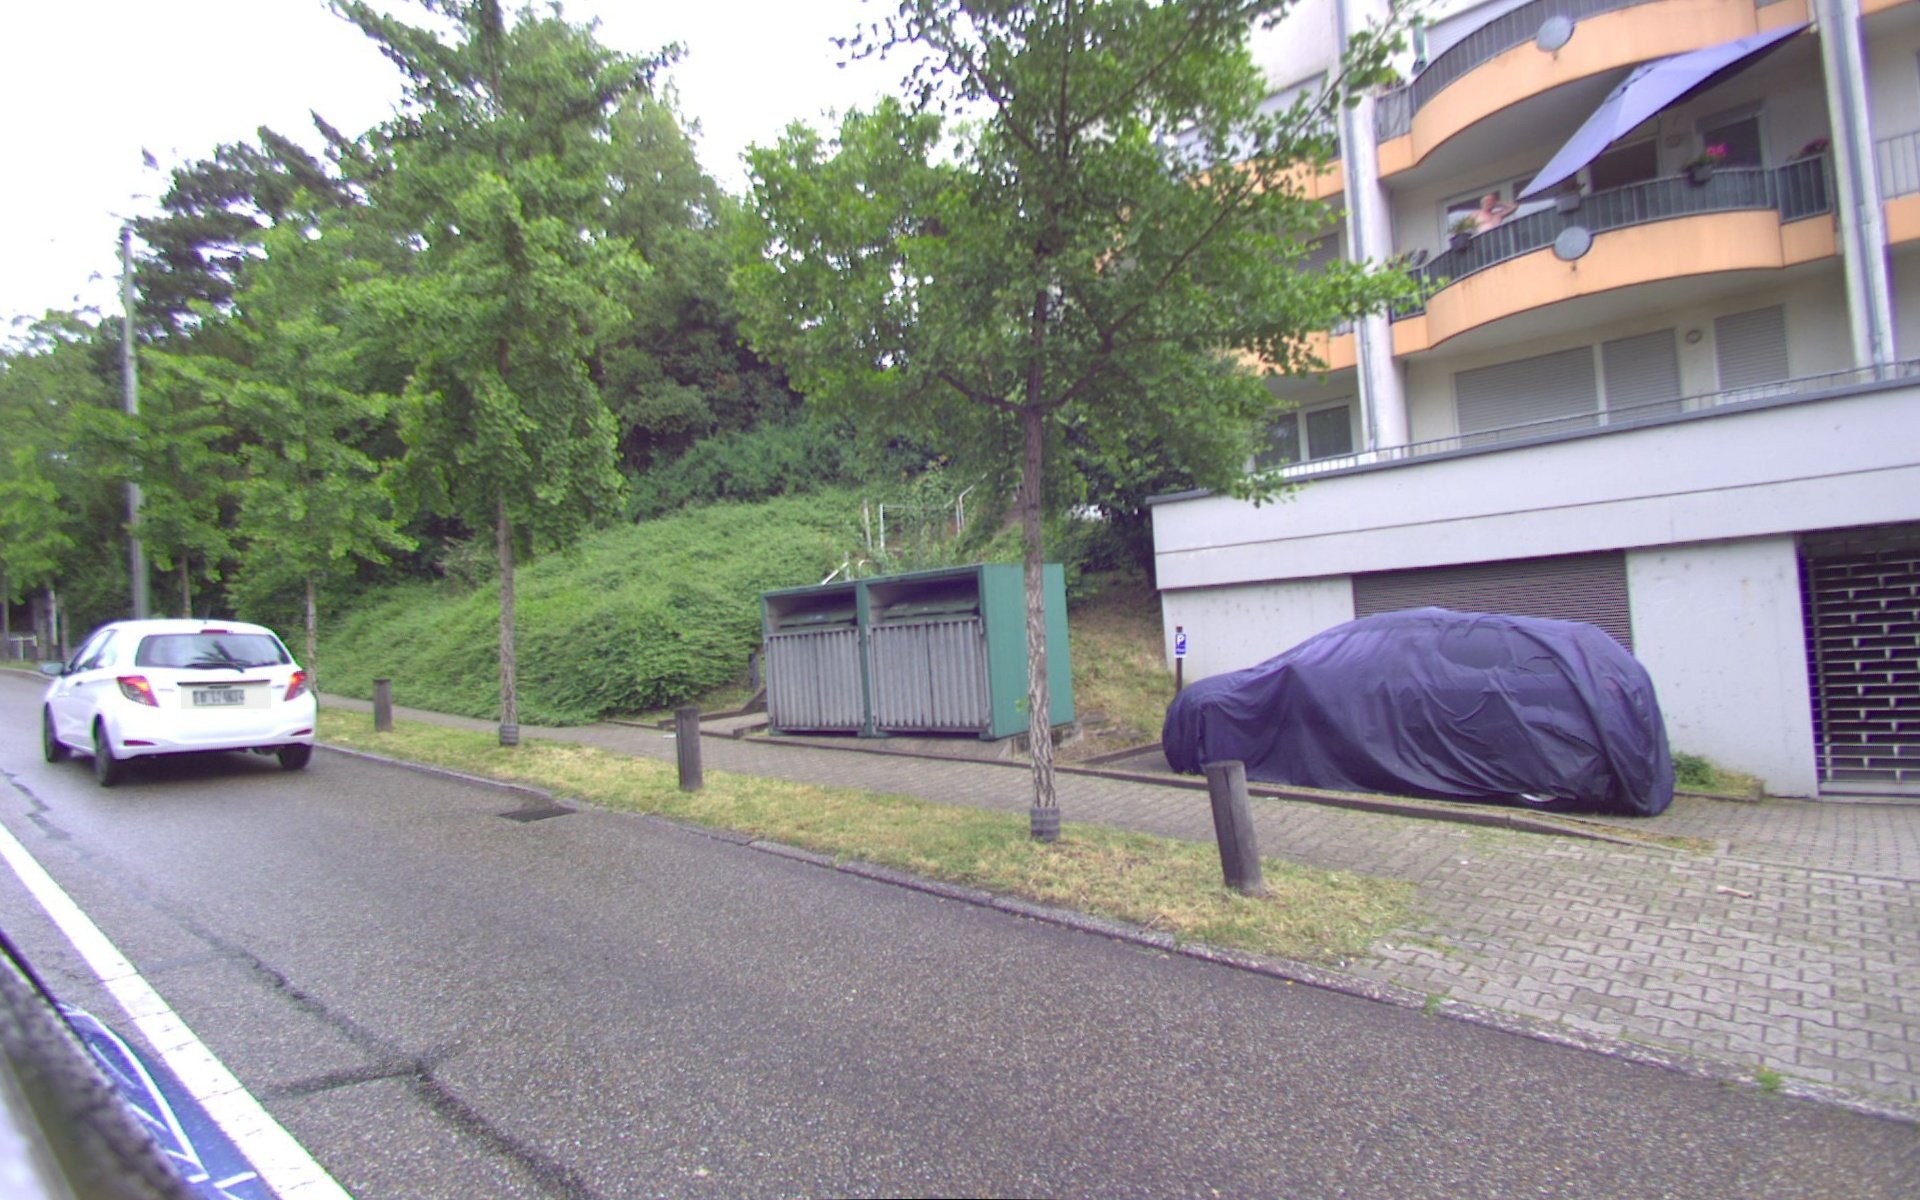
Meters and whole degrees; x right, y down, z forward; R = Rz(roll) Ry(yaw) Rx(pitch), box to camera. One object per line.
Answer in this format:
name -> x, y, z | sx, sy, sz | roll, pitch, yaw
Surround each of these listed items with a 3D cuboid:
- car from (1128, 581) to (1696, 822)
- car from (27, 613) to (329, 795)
car -> 3.670, 0.749, 8.648 | 4.096, 1.573, 1.759 | -1, -4, 41
car -> -8.201, 0.944, 10.504 | 3.839, 1.543, 1.691 | -1, -3, 40
